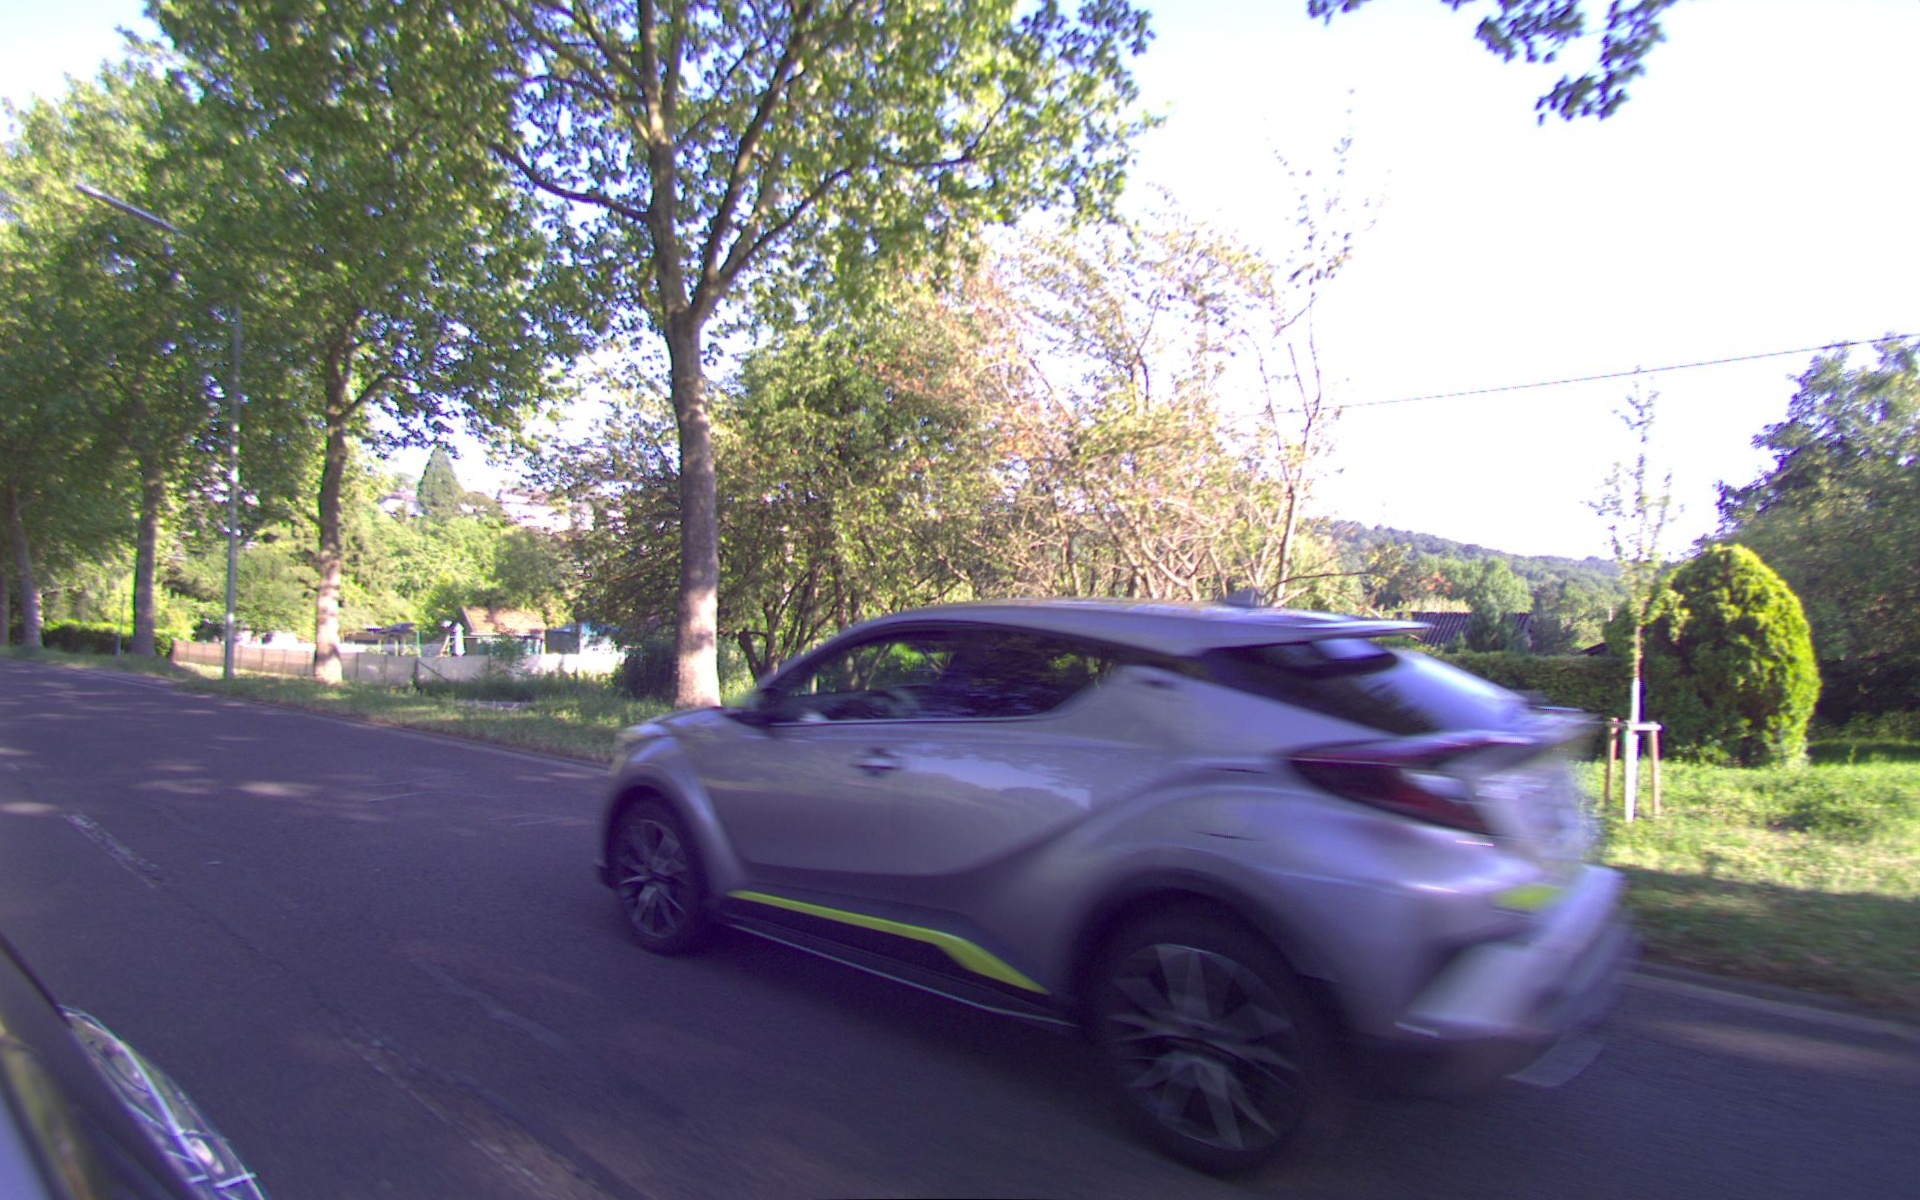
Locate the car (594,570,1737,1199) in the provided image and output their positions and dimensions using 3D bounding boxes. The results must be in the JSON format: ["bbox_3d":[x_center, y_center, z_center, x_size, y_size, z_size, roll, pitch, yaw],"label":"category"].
[{"bbox_3d":[0.409,0.703,3.879,3.998,1.516,1.697,0,0,41],"label":"car"}]
